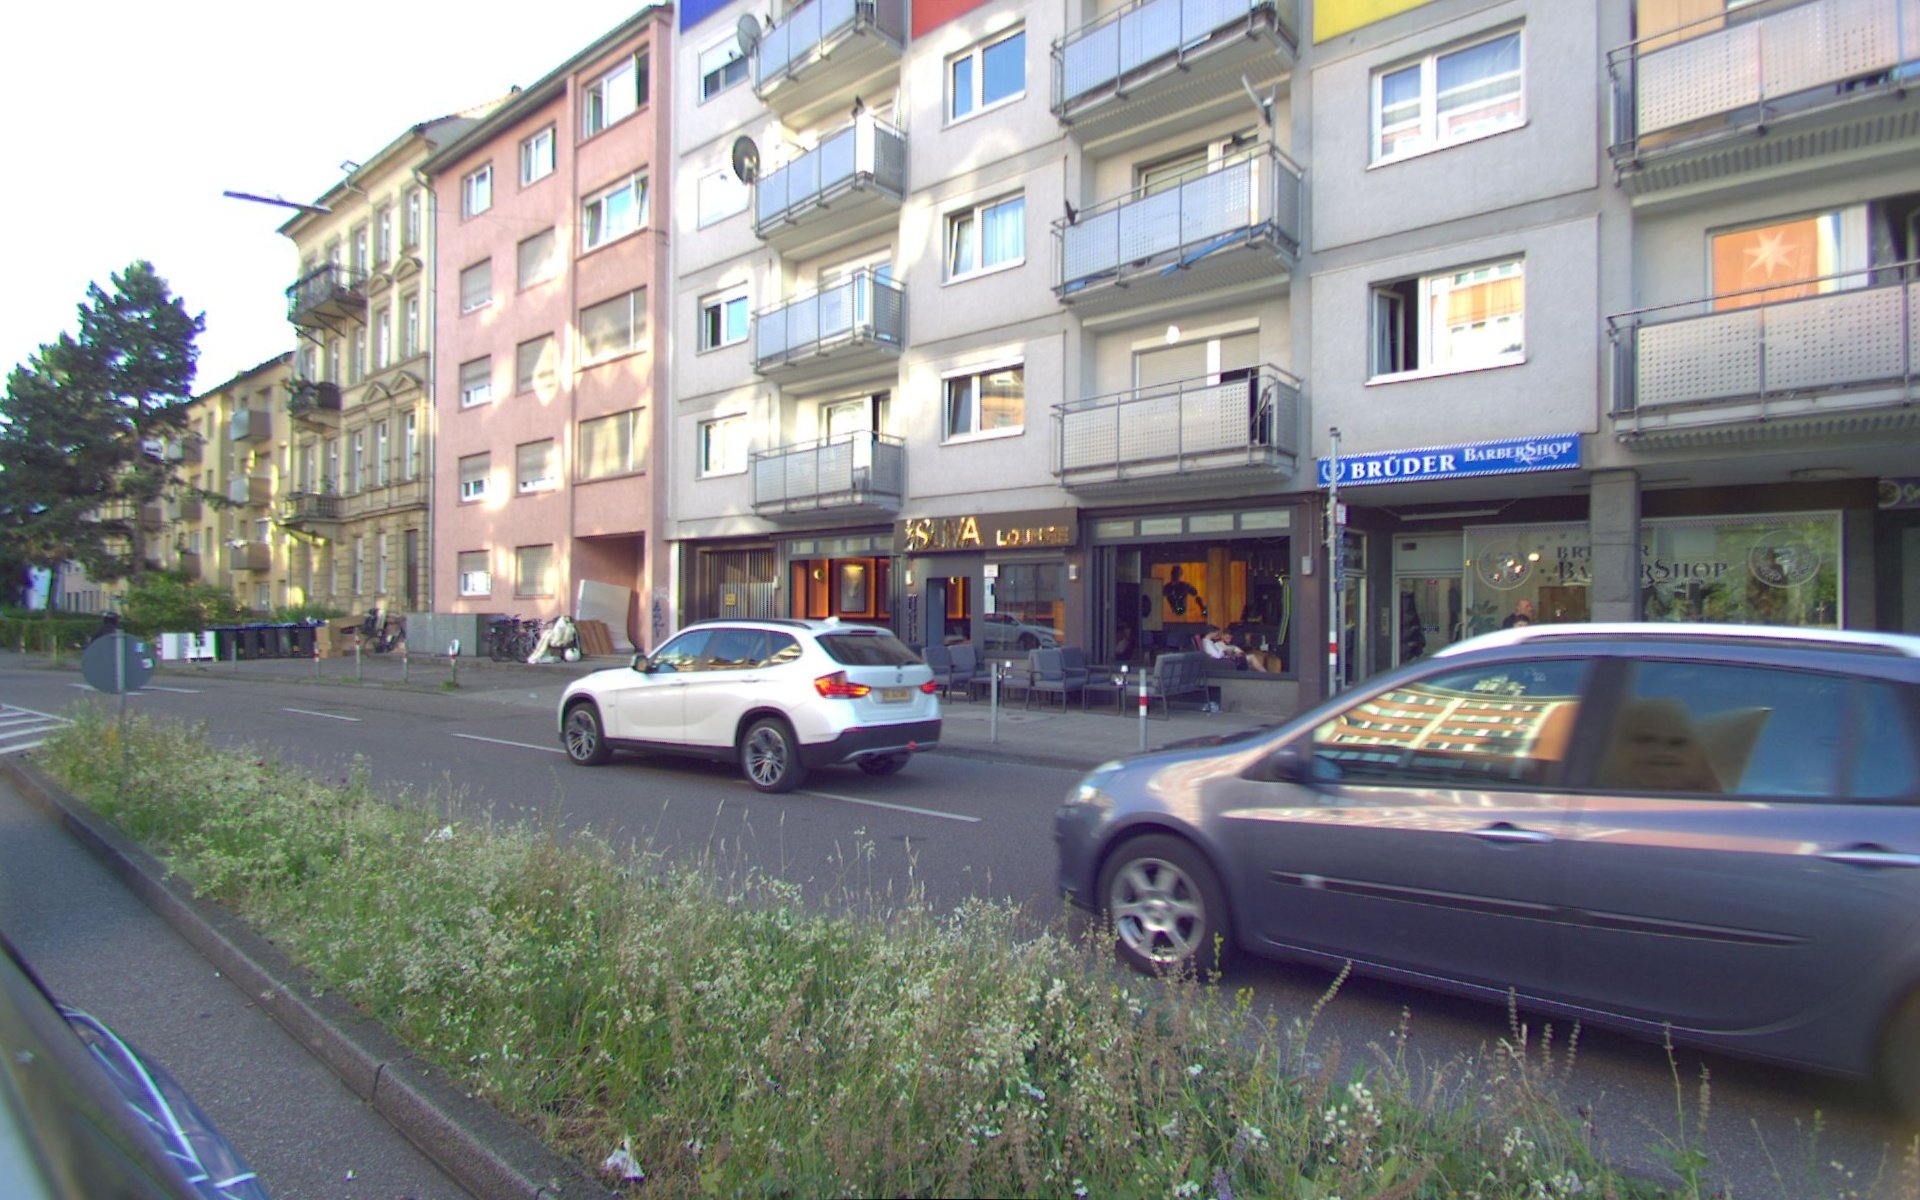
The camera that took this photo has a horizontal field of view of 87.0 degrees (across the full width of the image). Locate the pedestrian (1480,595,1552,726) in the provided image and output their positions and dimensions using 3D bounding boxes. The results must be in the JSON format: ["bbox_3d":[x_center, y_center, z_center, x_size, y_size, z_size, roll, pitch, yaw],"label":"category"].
[{"bbox_3d":[7.332,0.781,13.362,0.652,1.685,0.623,0,-1,11],"label":"pedestrian"}]

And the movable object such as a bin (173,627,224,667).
[{"bbox_3d":[-24.430,1.498,32.496,0.836,1.242,1.195,0,-1,-8],"label":"movable object such as a bin"}]

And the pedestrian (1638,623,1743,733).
[{"bbox_3d":[8.971,0.940,12.451,0.798,1.323,0.626,0,-1,-3],"label":"pedestrian"}]

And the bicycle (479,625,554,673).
[{"bbox_3d":[-11.452,1.253,26.166,0.473,1.200,1.758,-1,-2,38],"label":"bicycle"}]

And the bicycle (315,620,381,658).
[{"bbox_3d":[-19.832,1.259,32.823,0.473,1.200,1.758,-1,-2,38],"label":"bicycle"}]

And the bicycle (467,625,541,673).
[{"bbox_3d":[-11.995,1.267,26.660,0.473,1.200,1.758,-1,-2,38],"label":"bicycle"}]

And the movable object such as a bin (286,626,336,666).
[{"bbox_3d":[-20.781,1.451,32.436,0.837,1.242,1.193,0,-1,0],"label":"movable object such as a bin"}]

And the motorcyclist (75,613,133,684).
[{"bbox_3d":[-18.008,1.009,21.298,0.957,1.452,0.741,-1,-3,39],"label":"motorcyclist"}]

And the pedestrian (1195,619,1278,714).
[{"bbox_3d":[4.156,0.973,15.198,0.882,1.357,0.961,-1,-2,40],"label":"pedestrian"}]

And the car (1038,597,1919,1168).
[{"bbox_3d":[2.364,0.776,3.796,3.982,1.482,1.576,-2,-3,40],"label":"car"}]

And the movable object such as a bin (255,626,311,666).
[{"bbox_3d":[-21.710,1.461,32.486,0.916,1.242,1.292,0,-1,0],"label":"movable object such as a bin"}]

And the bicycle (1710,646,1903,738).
[{"bbox_3d":[10.150,1.078,12.213,1.691,1.006,0.620,0,-1,32],"label":"bicycle"}]

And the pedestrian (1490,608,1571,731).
[{"bbox_3d":[7.039,0.842,12.518,0.650,1.478,0.625,0,-1,5],"label":"pedestrian"}]

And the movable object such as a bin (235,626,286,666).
[{"bbox_3d":[-22.637,1.474,32.771,0.837,1.242,1.193,0,-1,0],"label":"movable object such as a bin"}]

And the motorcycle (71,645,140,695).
[{"bbox_3d":[-18.007,1.448,21.301,2.046,0.970,0.741,-1,-2,40],"label":"motorcycle"}]

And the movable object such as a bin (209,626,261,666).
[{"bbox_3d":[-23.506,1.486,32.829,0.837,1.242,1.193,0,-1,0],"label":"movable object such as a bin"}]

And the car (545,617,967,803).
[{"bbox_3d":[-2.154,0.955,10.152,4.239,1.499,1.737,-1,-3,36],"label":"car"}]

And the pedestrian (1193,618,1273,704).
[{"bbox_3d":[4.458,0.968,16.511,0.974,1.357,0.871,-1,-2,40],"label":"pedestrian"}]

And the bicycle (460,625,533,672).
[{"bbox_3d":[-12.383,1.272,27.097,0.473,1.200,1.758,-1,-2,38],"label":"bicycle"}]
